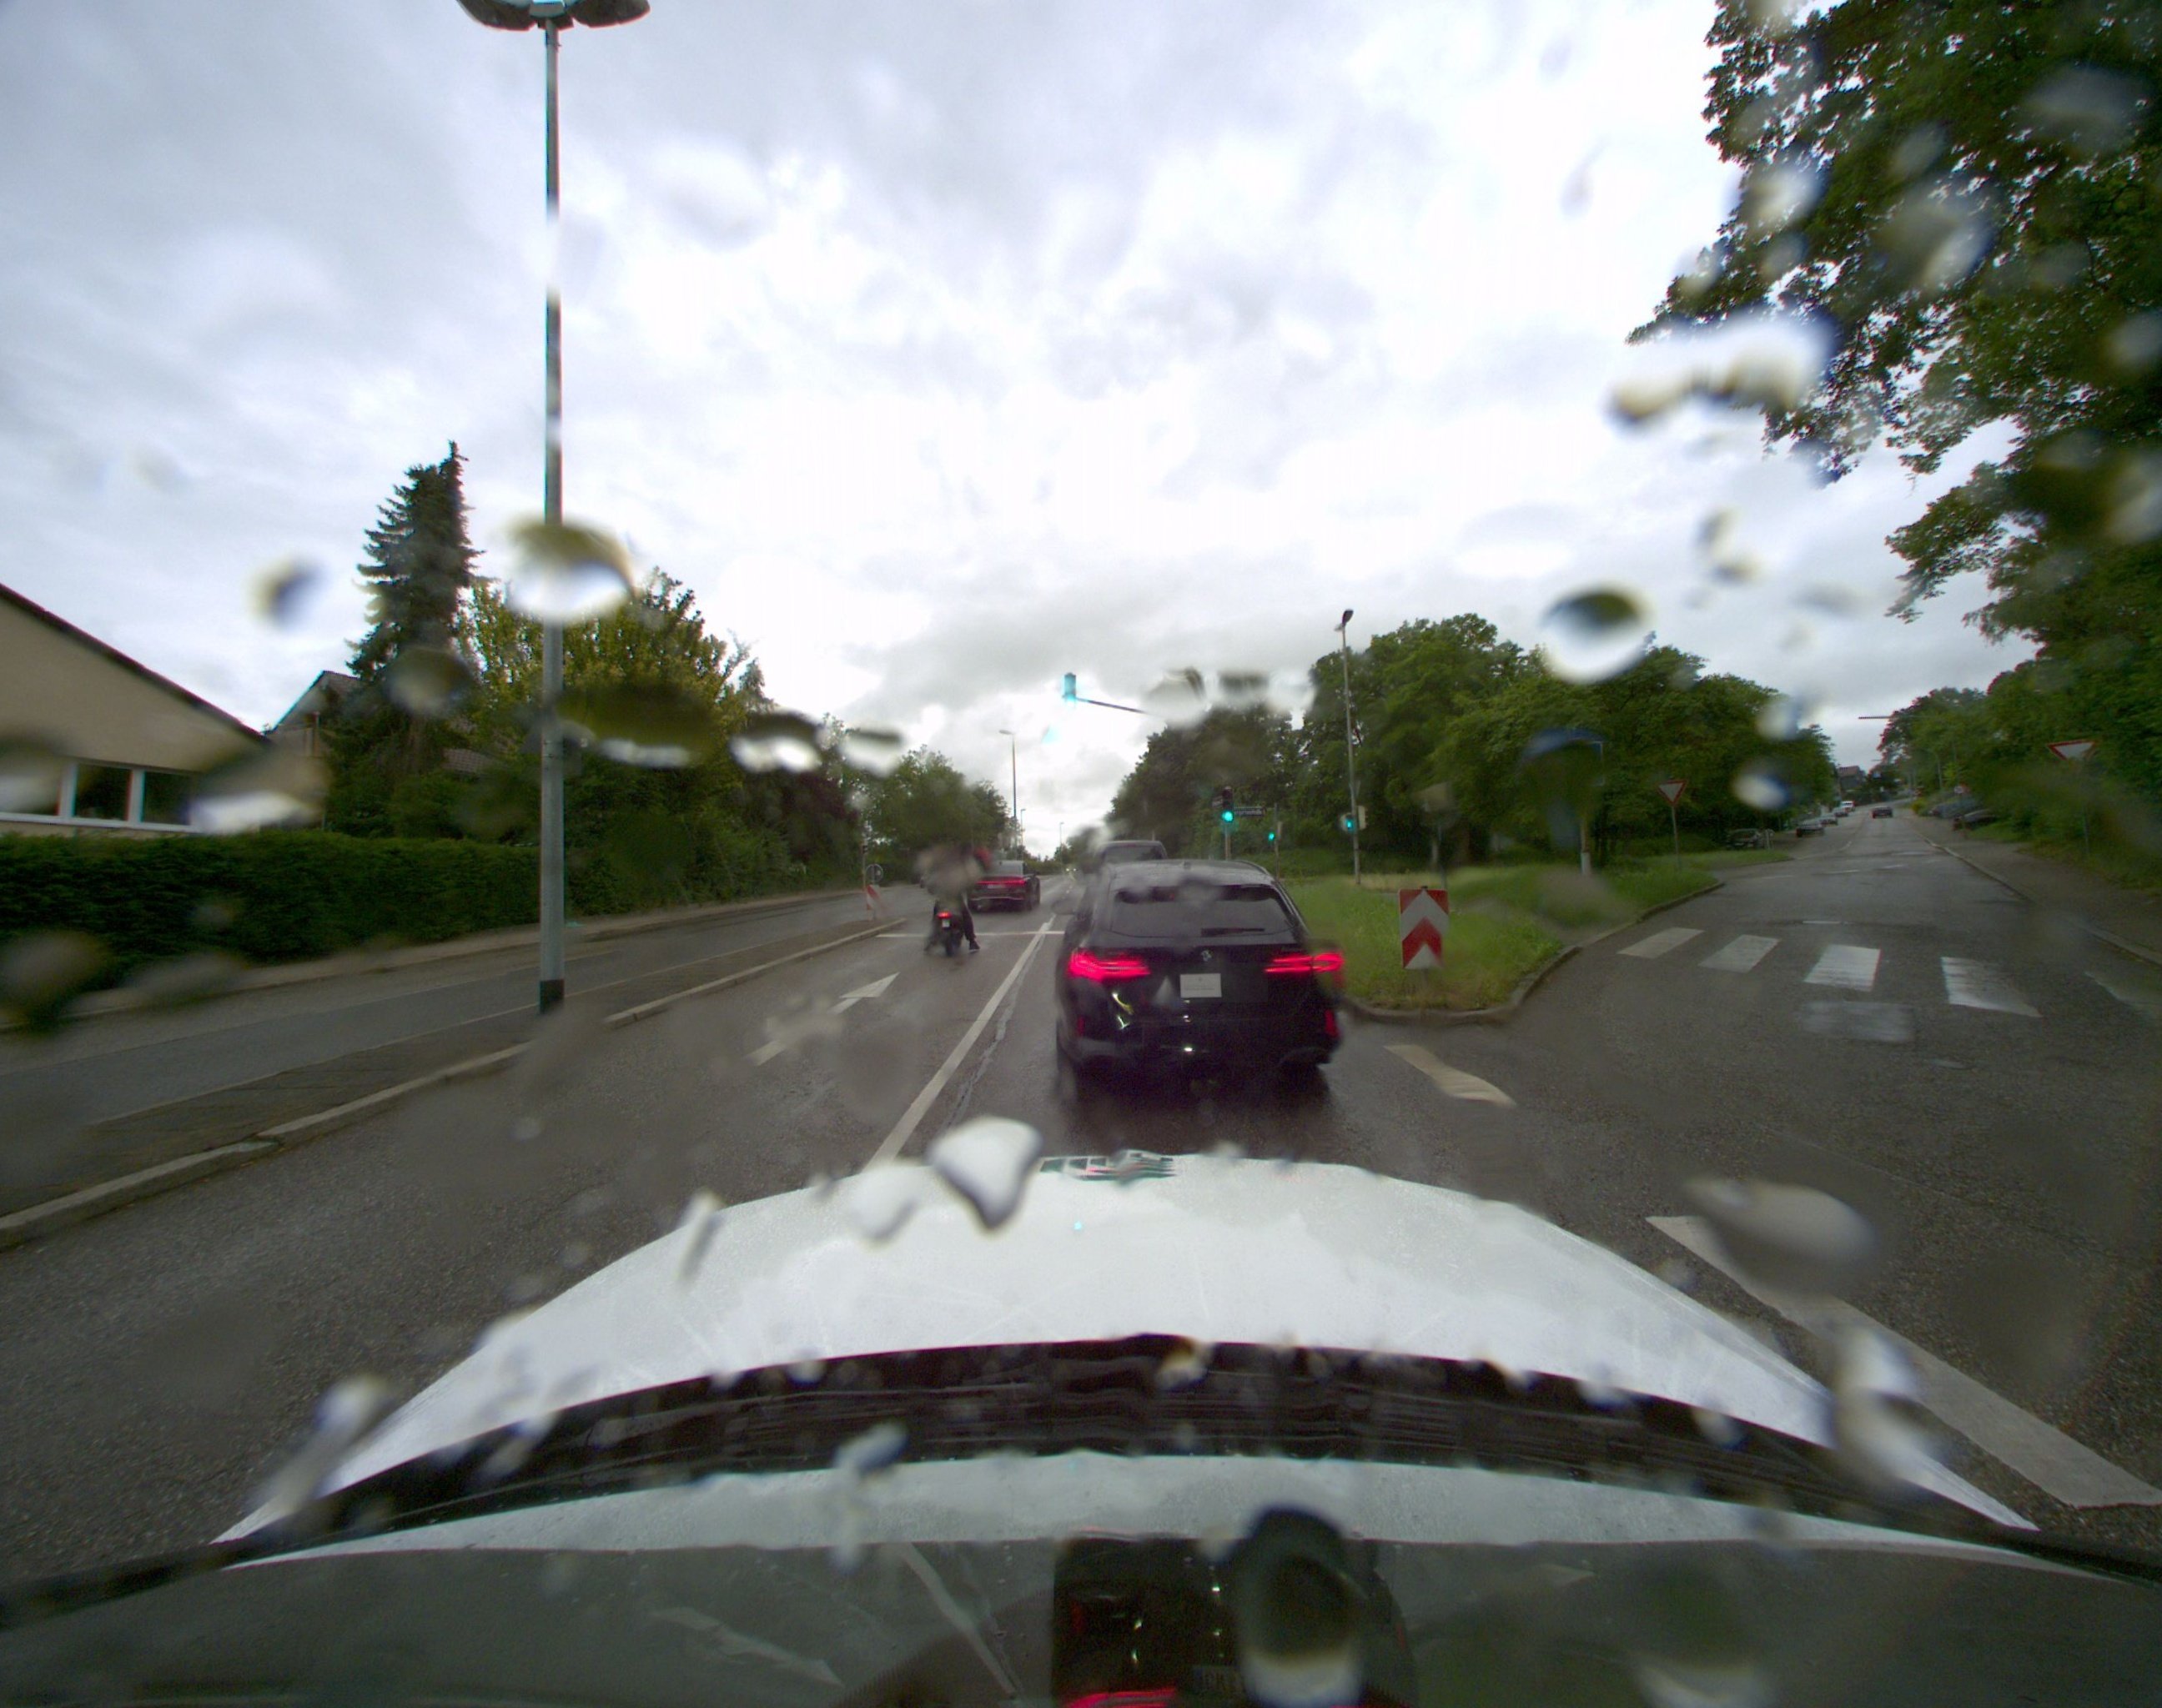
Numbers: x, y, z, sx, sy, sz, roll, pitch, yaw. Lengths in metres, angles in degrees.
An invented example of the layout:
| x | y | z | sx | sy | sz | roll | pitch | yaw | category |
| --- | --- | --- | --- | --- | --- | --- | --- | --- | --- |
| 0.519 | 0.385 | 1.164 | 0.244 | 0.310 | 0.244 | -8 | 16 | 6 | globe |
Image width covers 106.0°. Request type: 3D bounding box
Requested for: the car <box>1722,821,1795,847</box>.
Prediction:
| x | y | z | sx | sy | sz | roll | pitch | yaw | category |
| --- | --- | --- | --- | --- | --- | --- | --- | --- | --- |
| 46.011 | -1.364 | 55.328 | 3.994 | 1.571 | 1.819 | -2 | 0 | -15 | car |

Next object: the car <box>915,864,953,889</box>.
| x | y | z | sx | sy | sz | roll | pitch | yaw | category |
| --- | --- | --- | --- | --- | --- | --- | --- | --- | --- |
| -9.811 | 1.494 | 54.618 | 1.858 | 1.492 | 3.831 | -3 | 0 | -2 | car |

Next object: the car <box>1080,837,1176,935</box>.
| x | y | z | sx | sy | sz | roll | pitch | yaw | category |
| --- | --- | --- | --- | --- | --- | --- | --- | --- | --- |
| 0.940 | 0.591 | 17.186 | 1.760 | 1.810 | 3.907 | -1 | 0 | 2 | car |

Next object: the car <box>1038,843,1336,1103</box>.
| x | y | z | sx | sy | sz | roll | pitch | yaw | category |
| --- | --- | --- | --- | --- | --- | --- | --- | --- | --- |
| 0.692 | 0.716 | 6.721 | 1.758 | 1.536 | 3.674 | -1 | 0 | 2 | car |

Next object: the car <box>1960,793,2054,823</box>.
| x | y | z | sx | sy | sz | roll | pitch | yaw | category |
| --- | --- | --- | --- | --- | --- | --- | --- | --- | --- |
| 61.081 | -2.981 | 53.816 | 1.969 | 1.648 | 3.950 | -2 | -1 | -45 | car |

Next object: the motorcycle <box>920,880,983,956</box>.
| x | y | z | sx | sy | sz | roll | pitch | yaw | category |
| --- | --- | --- | --- | --- | --- | --- | --- | --- | --- |
| -2.085 | 1.012 | 13.300 | 0.738 | 1.119 | 1.427 | -1 | 0 | 2 | motorcycle |

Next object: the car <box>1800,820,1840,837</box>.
| x | y | z | sx | sy | sz | roll | pitch | yaw | category |
| --- | --- | --- | --- | --- | --- | --- | --- | --- | --- |
| 66.391 | -2.265 | 73.141 | 4.014 | 1.446 | 1.686 | 0 | -1 | -32 | car |

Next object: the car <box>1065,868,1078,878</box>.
| x | y | z | sx | sy | sz | roll | pitch | yaw | category |
| --- | --- | --- | --- | --- | --- | --- | --- | --- | --- |
| -1.652 | 3.318 | 140.302 | 2.018 | 1.563 | 3.877 | -3 | -1 | 1 | car |

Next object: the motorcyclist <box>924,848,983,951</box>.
| x | y | z | sx | sy | sz | roll | pitch | yaw | category |
| --- | --- | --- | --- | --- | --- | --- | --- | --- | --- |
| -2.080 | 0.739 | 13.379 | 0.842 | 1.647 | 0.468 | -1 | 0 | 1 | motorcyclist |

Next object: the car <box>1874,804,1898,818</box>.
| x | y | z | sx | sy | sz | roll | pitch | yaw | category |
| --- | --- | --- | --- | --- | --- | --- | --- | --- | --- |
| 101.261 | -5.384 | 102.474 | 1.921 | 1.458 | 4.242 | -1 | -1 | 41 | car |

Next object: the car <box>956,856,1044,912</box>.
| x | y | z | sx | sy | sz | roll | pitch | yaw | category |
| --- | --- | --- | --- | --- | --- | --- | --- | --- | --- |
| -2.299 | 0.818 | 24.235 | 2.007 | 1.415 | 4.488 | -1 | 0 | 2 | car |
